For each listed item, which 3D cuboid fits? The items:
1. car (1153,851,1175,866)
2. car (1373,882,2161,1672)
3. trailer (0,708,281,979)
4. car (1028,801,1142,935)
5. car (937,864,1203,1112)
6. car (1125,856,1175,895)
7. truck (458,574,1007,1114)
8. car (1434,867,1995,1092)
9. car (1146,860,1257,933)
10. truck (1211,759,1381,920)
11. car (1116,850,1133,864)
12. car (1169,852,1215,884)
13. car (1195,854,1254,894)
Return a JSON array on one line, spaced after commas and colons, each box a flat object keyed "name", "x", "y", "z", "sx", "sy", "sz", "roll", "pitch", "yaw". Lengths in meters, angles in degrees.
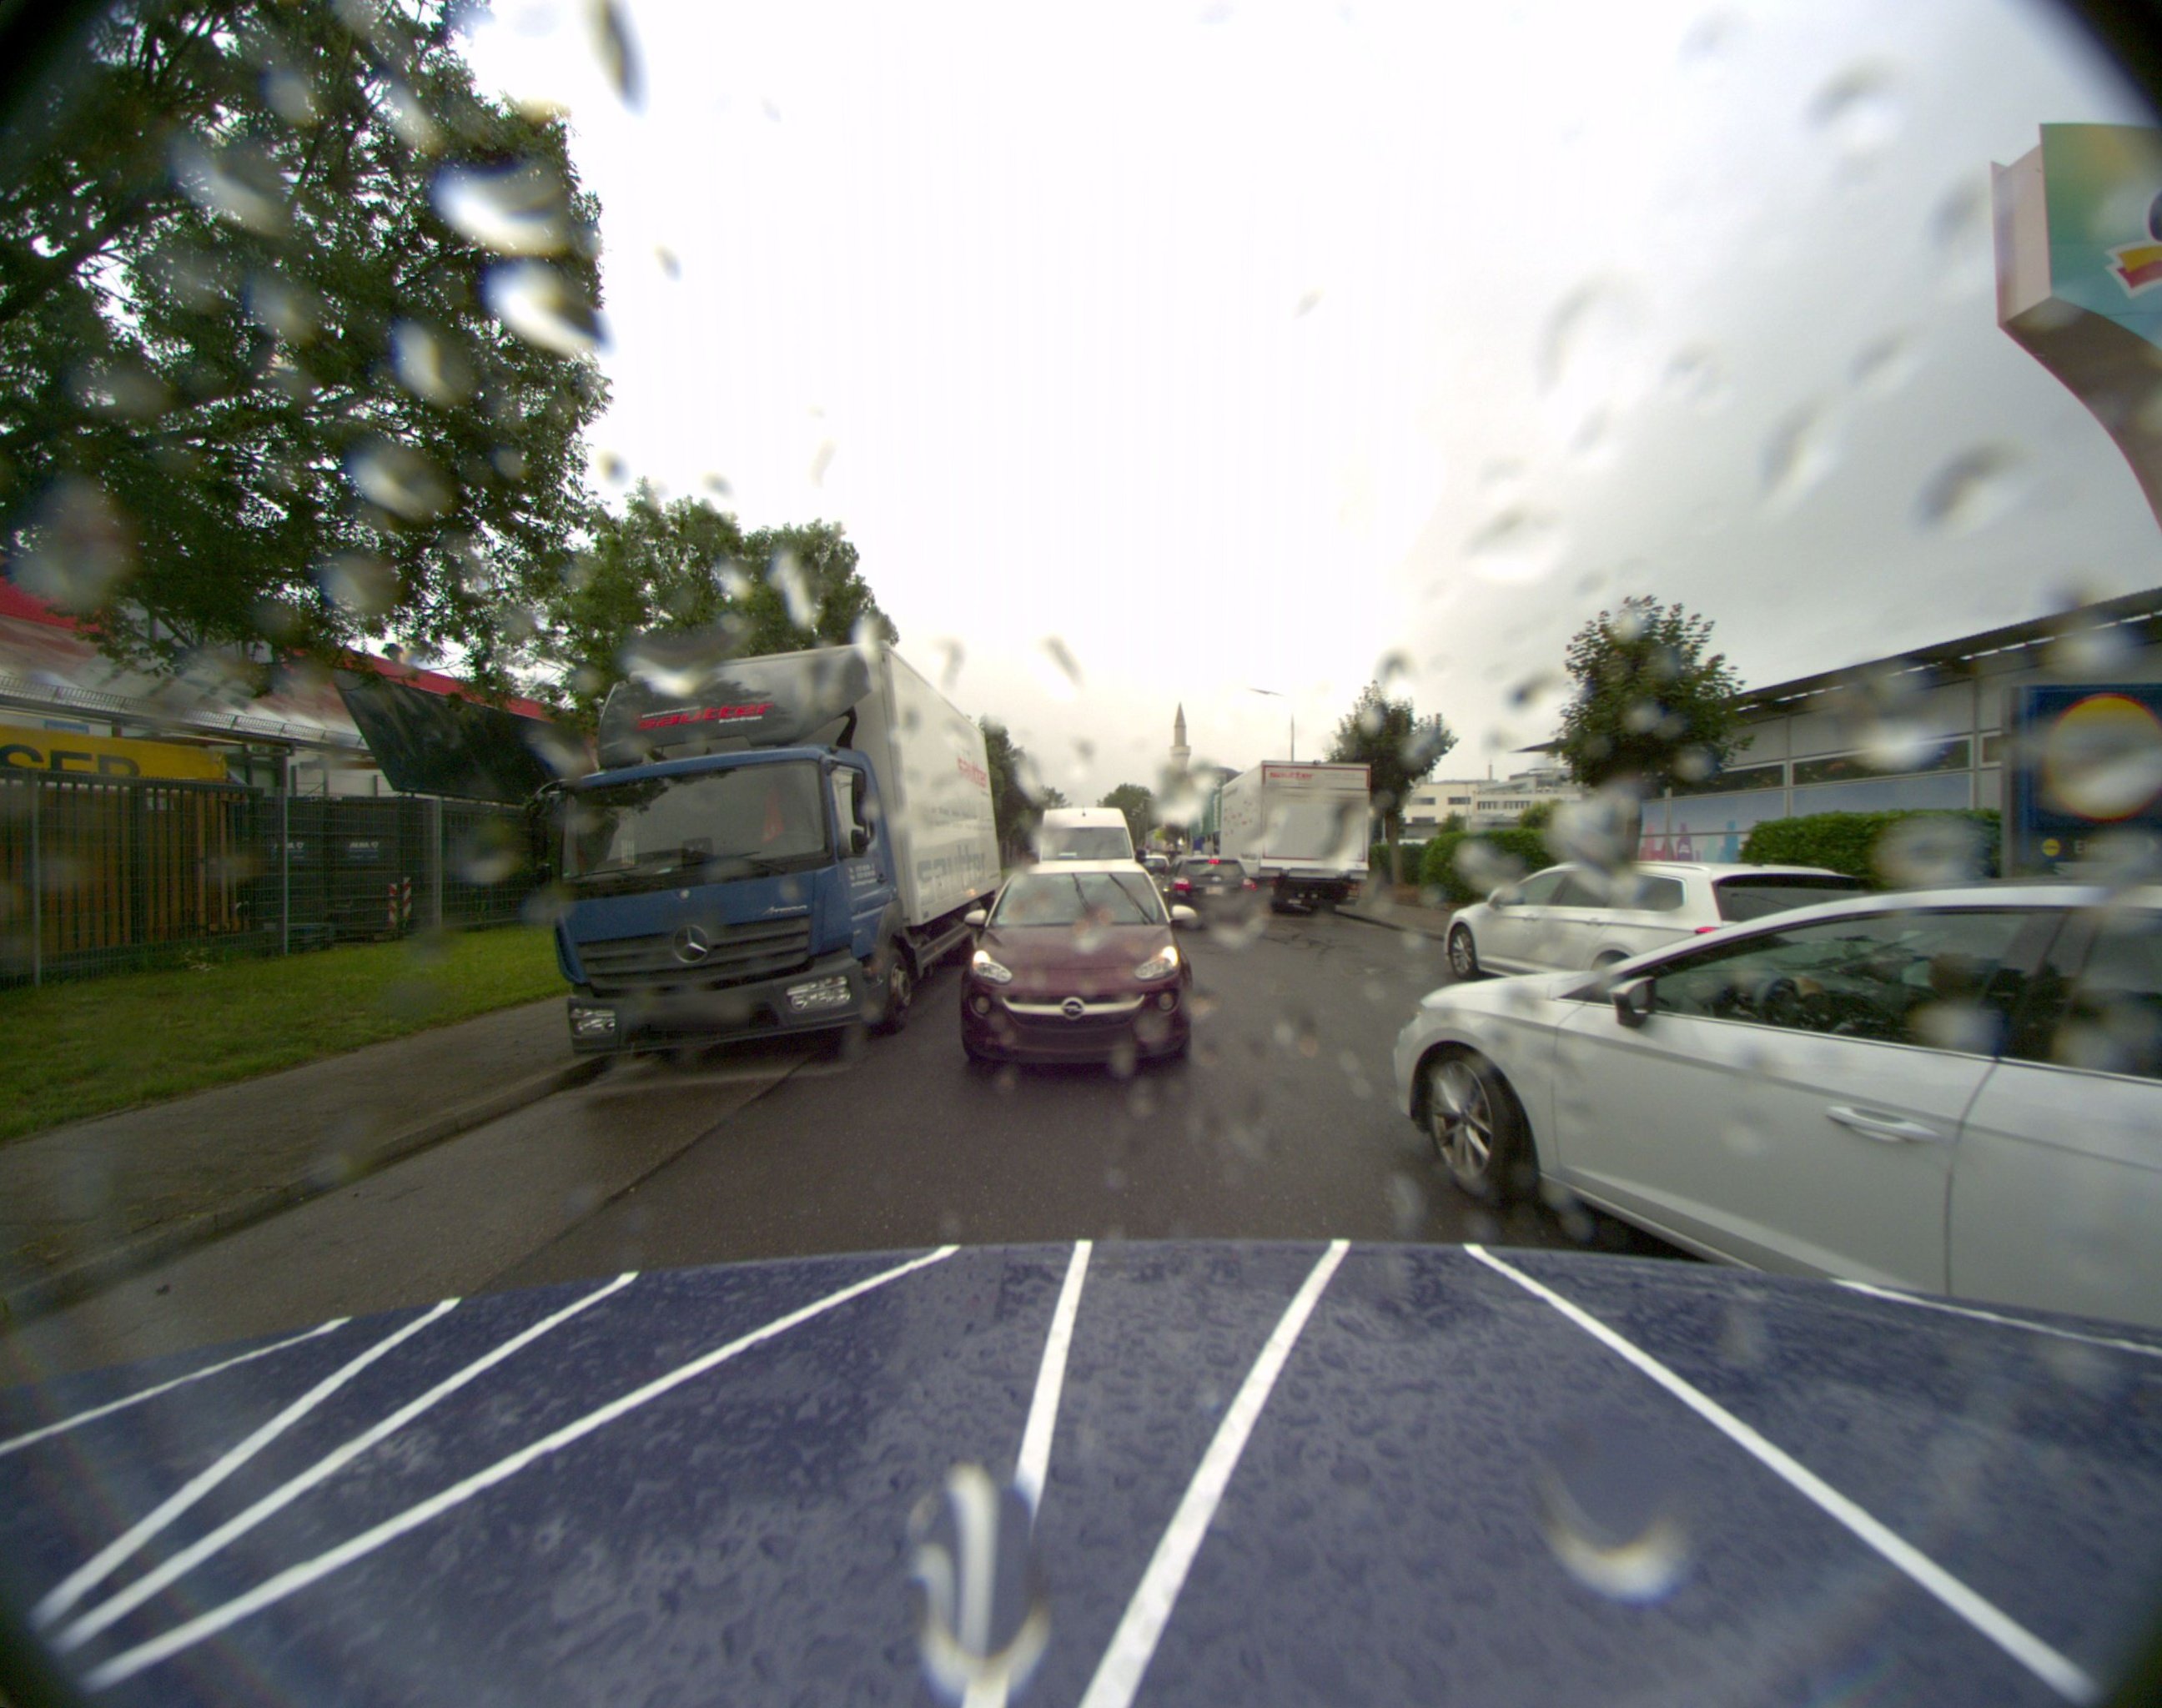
[{"name": "car", "x": 7.325, "y": 0.394, "z": 67.370, "sx": 1.579, "sy": 1.333, "sz": 3.610, "roll": -1, "pitch": 0, "yaw": 0}, {"name": "car", "x": 2.827, "y": 0.869, "z": 2.037, "sx": 1.737, "sy": 1.432, "sz": 3.994, "roll": 0, "pitch": 0, "yaw": -17}, {"name": "trailer", "x": -18.304, "y": -0.128, "z": 11.072, "sx": 2.974, "sy": 4.219, "sz": 9.469, "roll": -1, "pitch": 1, "yaw": 1}, {"name": "car", "x": 0.047, "y": 0.249, "z": 16.890, "sx": 2.085, "sy": 2.466, "sz": 5.346, "roll": -1, "pitch": 0, "yaw": -1}, {"name": "car", "x": -0.044, "y": 0.885, "z": 6.631, "sx": 1.637, "sy": 1.446, "sz": 3.578, "roll": -2, "pitch": 0, "yaw": 1}, {"name": "car", "x": 2.691, "y": 0.818, "z": 30.246, "sx": 1.615, "sy": 1.430, "sz": 3.407, "roll": 1, "pitch": 0, "yaw": -1}, {"name": "truck", "x": -2.862, "y": -0.070, "z": 9.394, "sx": 2.678, "sy": 3.670, "sz": 8.009, "roll": -4, "pitch": 0, "yaw": 2}, {"name": "car", "x": 5.371, "y": 0.896, "z": 7.454, "sx": 1.840, "sy": 1.426, "sz": 4.492, "roll": 1, "pitch": 0, "yaw": 2}, {"name": "car", "x": 2.546, "y": 0.852, "z": 16.987, "sx": 1.735, "sy": 1.432, "sz": 3.999, "roll": 0, "pitch": 0, "yaw": -2}, {"name": "truck", "x": 5.675, "y": -0.350, "z": 21.630, "sx": 2.888, "sy": 3.724, "sz": 7.868, "roll": -1, "pitch": 0, "yaw": 2}, {"name": "car", "x": 4.986, "y": 0.341, "z": 86.928, "sx": 1.691, "sy": 1.588, "sz": 3.610, "roll": -1, "pitch": 0, "yaw": 0}, {"name": "car", "x": 5.365, "y": 0.656, "z": 37.029, "sx": 1.691, "sy": 1.457, "sz": 3.513, "roll": -1, "pitch": 0, "yaw": 0}, {"name": "car", "x": 5.672, "y": 0.749, "z": 30.431, "sx": 1.691, "sy": 1.457, "sz": 3.513, "roll": -1, "pitch": 0, "yaw": 0}]
